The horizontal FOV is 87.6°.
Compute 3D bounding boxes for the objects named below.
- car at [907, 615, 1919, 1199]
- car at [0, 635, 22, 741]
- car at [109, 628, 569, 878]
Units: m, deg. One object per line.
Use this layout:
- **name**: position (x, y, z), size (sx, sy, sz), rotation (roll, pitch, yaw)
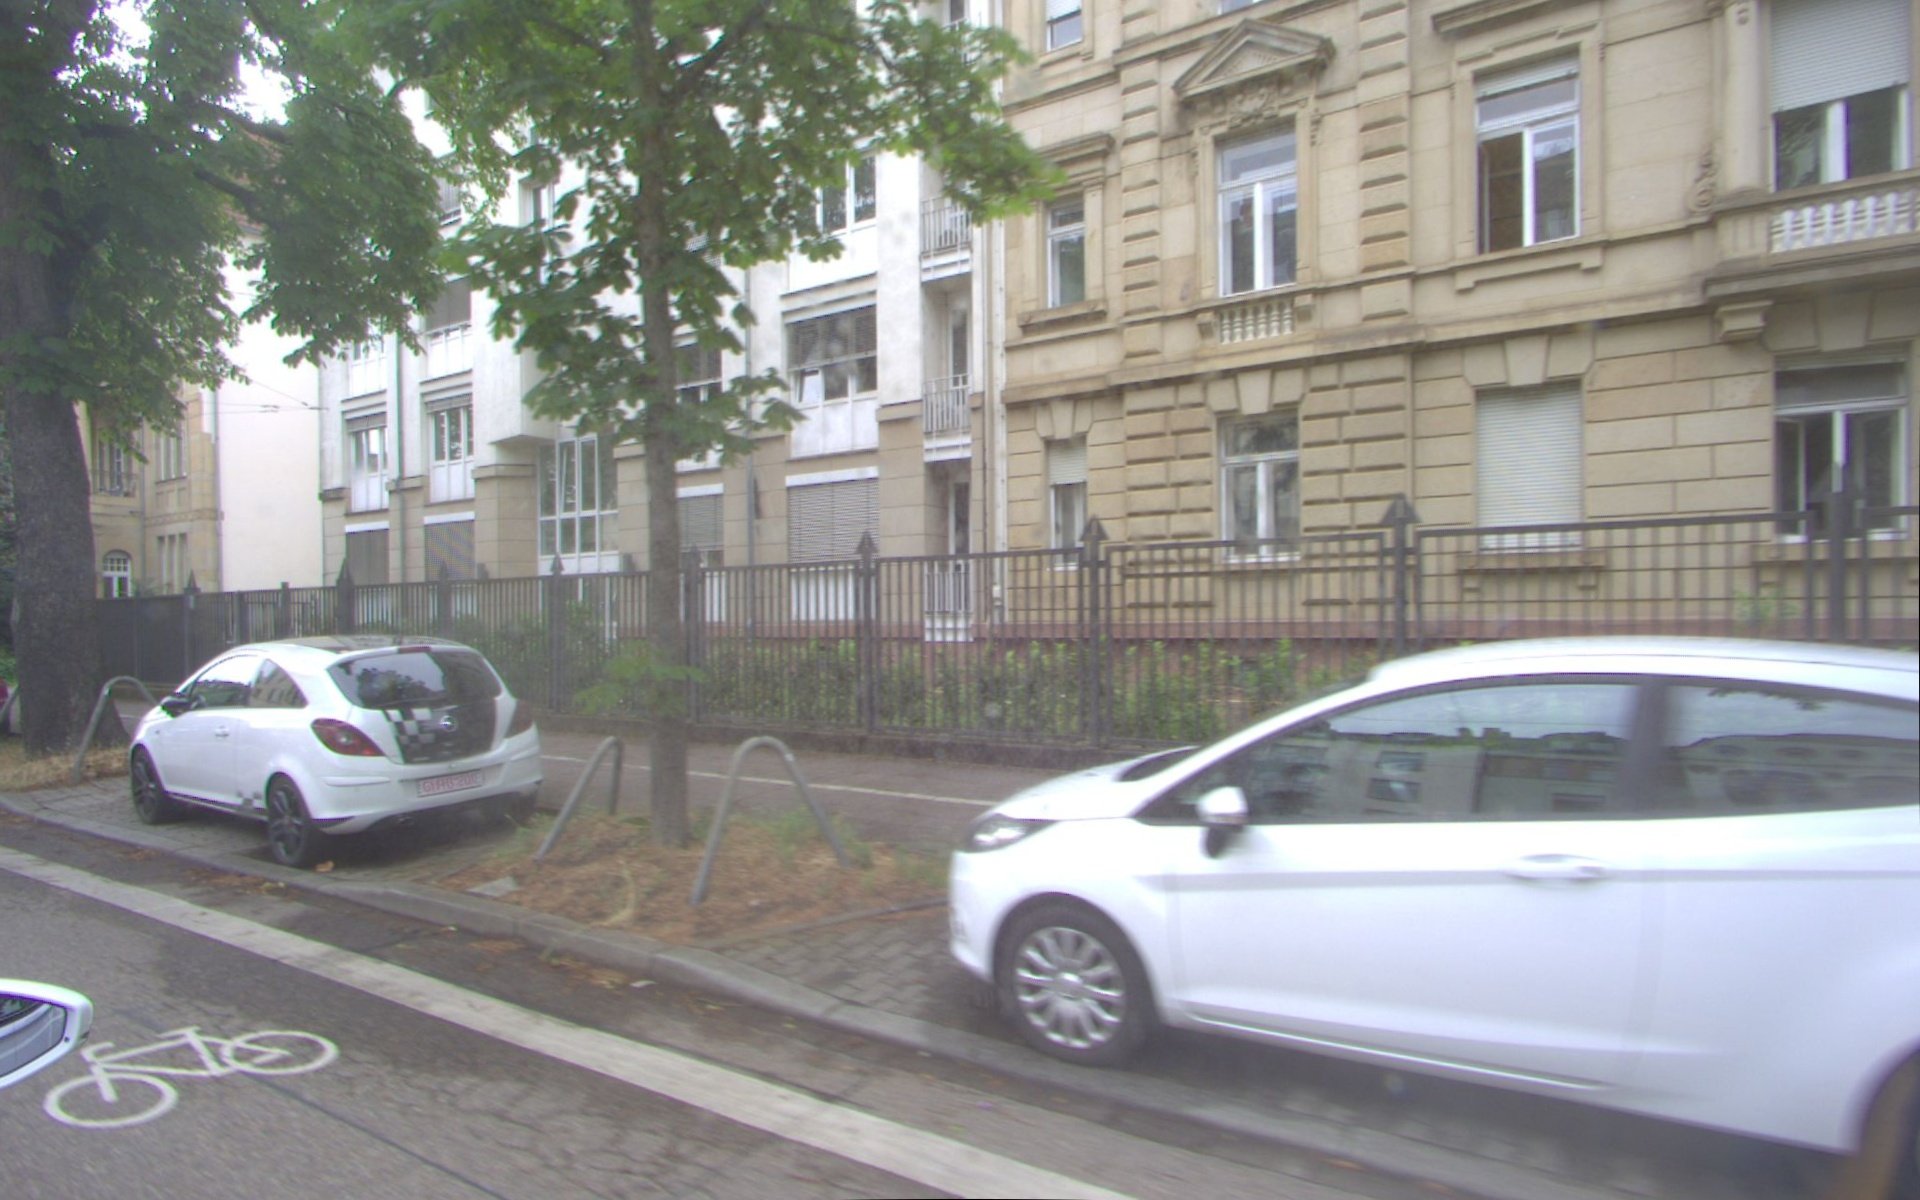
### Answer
- **car**: position (1.808, 0.817, 3.472), size (3.711, 1.455, 1.623), rotation (-1, 1, 32)
- **car**: position (-15.053, 1.238, 14.156), size (4.167, 1.418, 1.598), rotation (-1, 1, 32)
- **car**: position (-4.929, 0.985, 7.827), size (3.724, 1.455, 1.598), rotation (-1, 1, 33)
